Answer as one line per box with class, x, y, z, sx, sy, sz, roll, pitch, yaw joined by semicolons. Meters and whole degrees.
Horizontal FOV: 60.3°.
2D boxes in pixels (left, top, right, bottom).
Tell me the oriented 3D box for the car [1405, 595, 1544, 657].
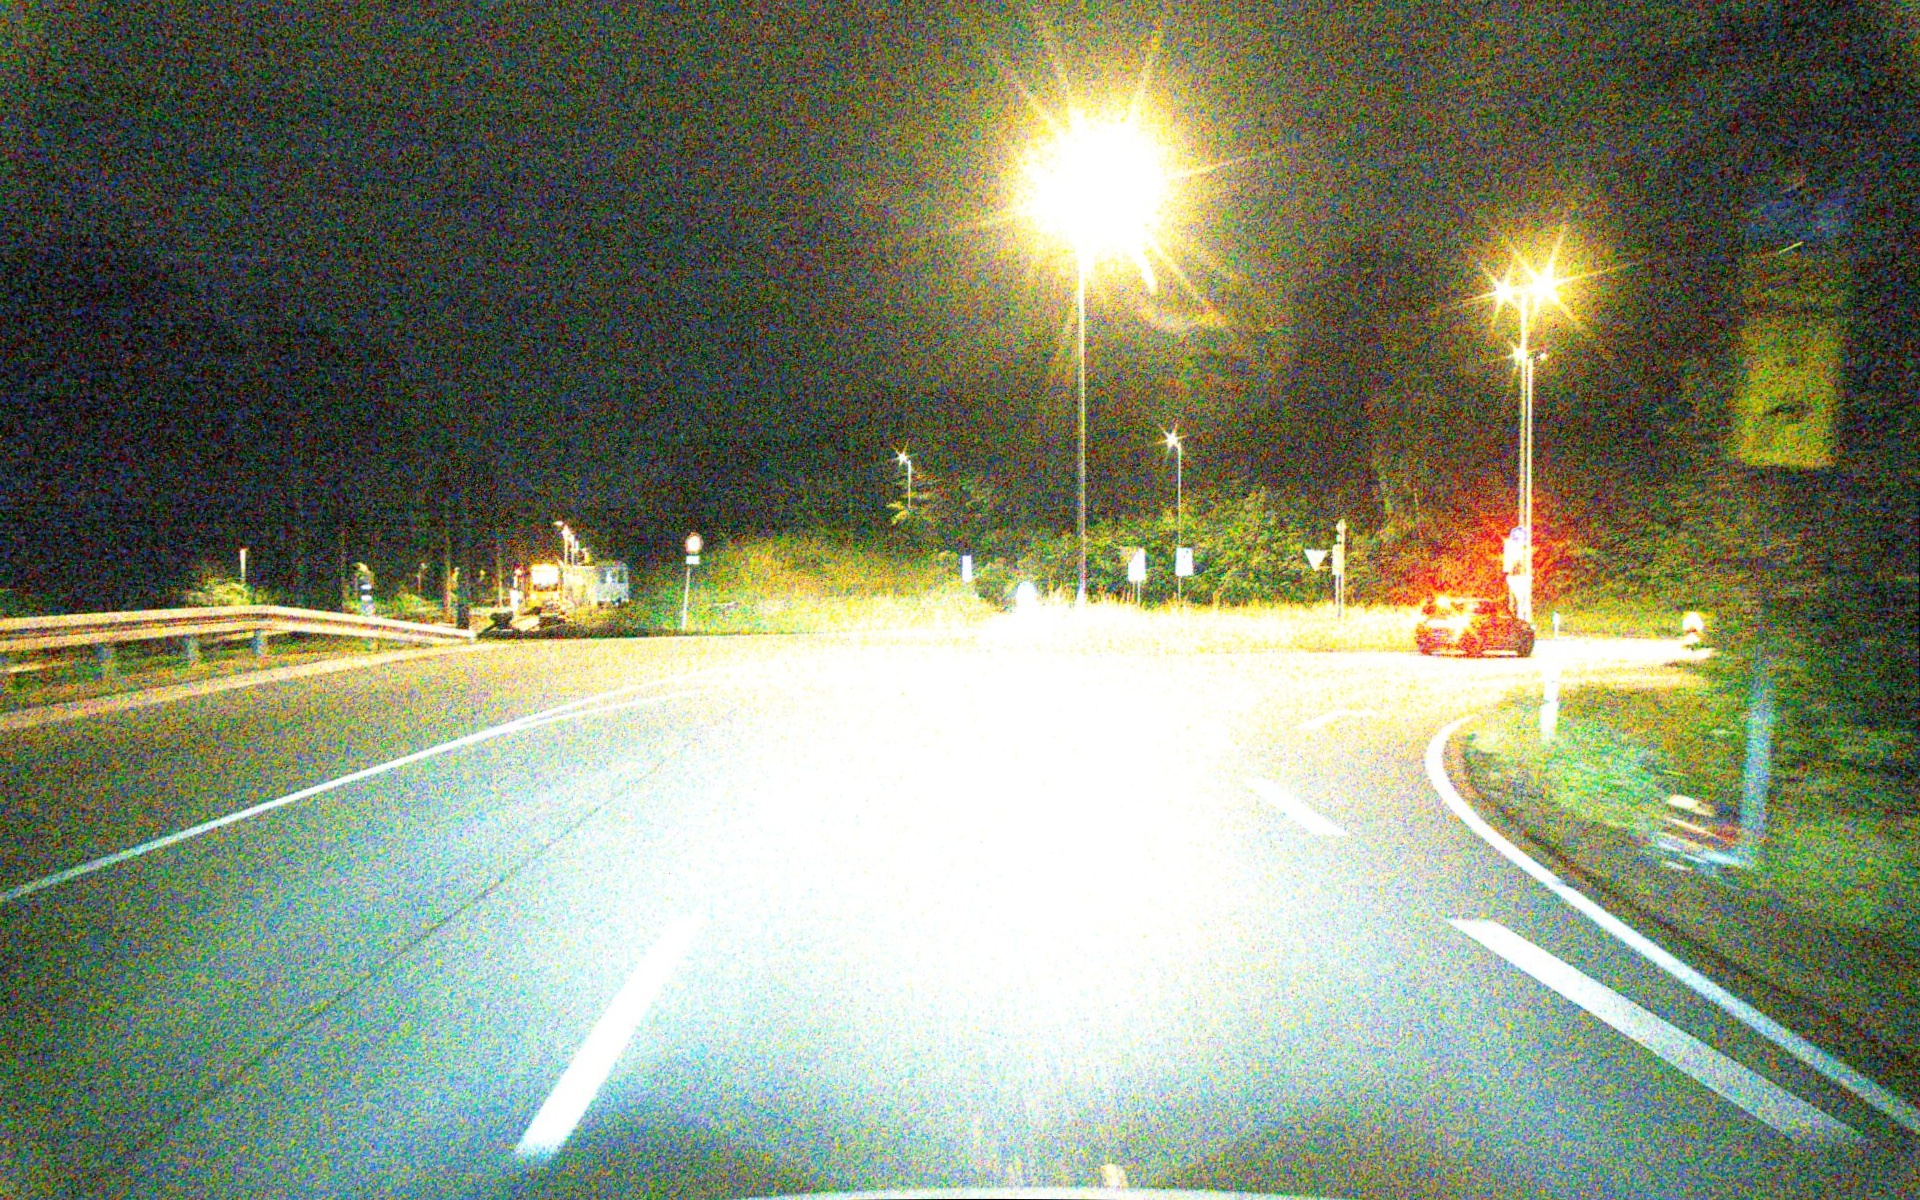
car;14.462;0.744;46.399;3.968;1.610;1.832;2;1;-40
